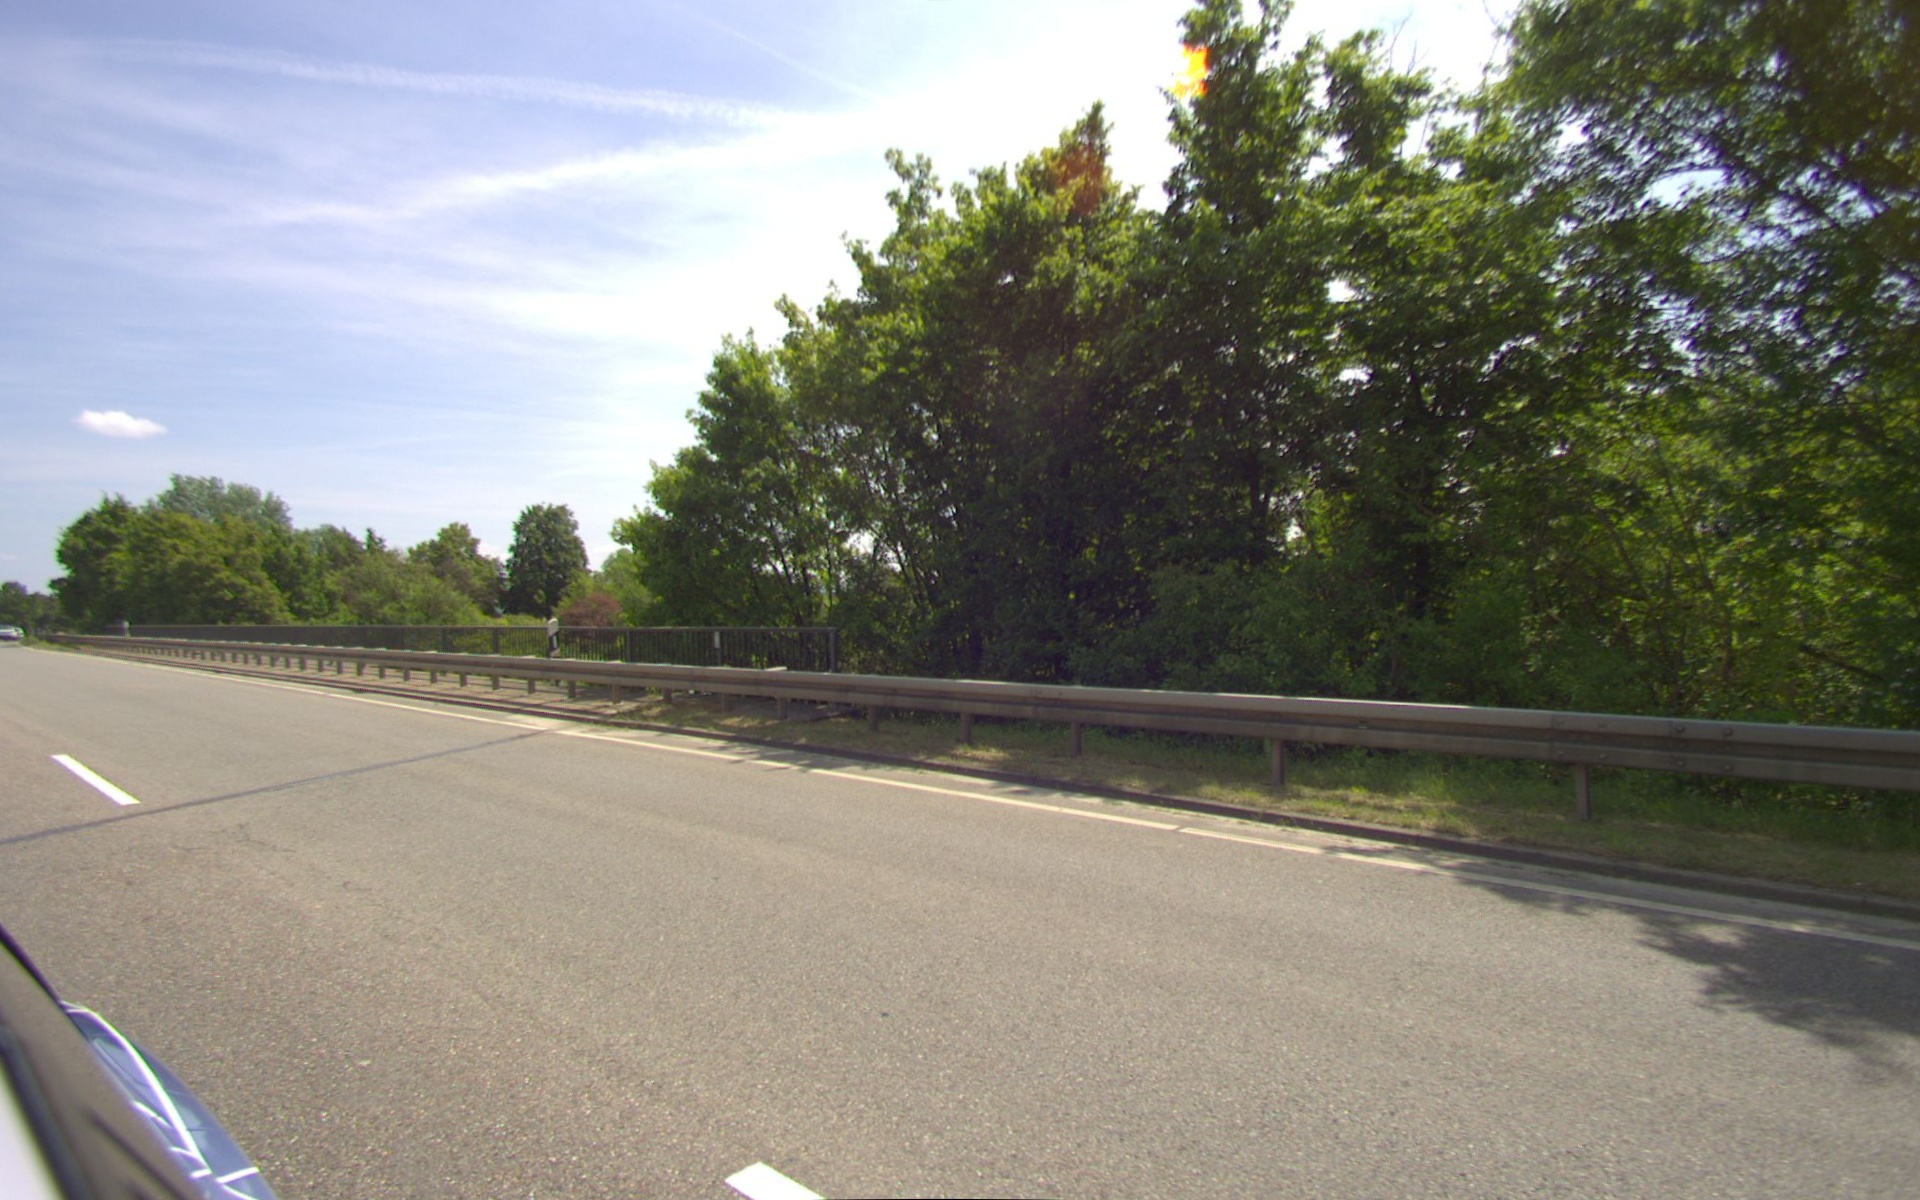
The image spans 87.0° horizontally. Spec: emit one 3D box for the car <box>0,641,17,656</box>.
[{"bbox_3d":[-96.972,4.894,102.528,1.855,1.523,4.551,0,-2,-39],"label":"car"}]
